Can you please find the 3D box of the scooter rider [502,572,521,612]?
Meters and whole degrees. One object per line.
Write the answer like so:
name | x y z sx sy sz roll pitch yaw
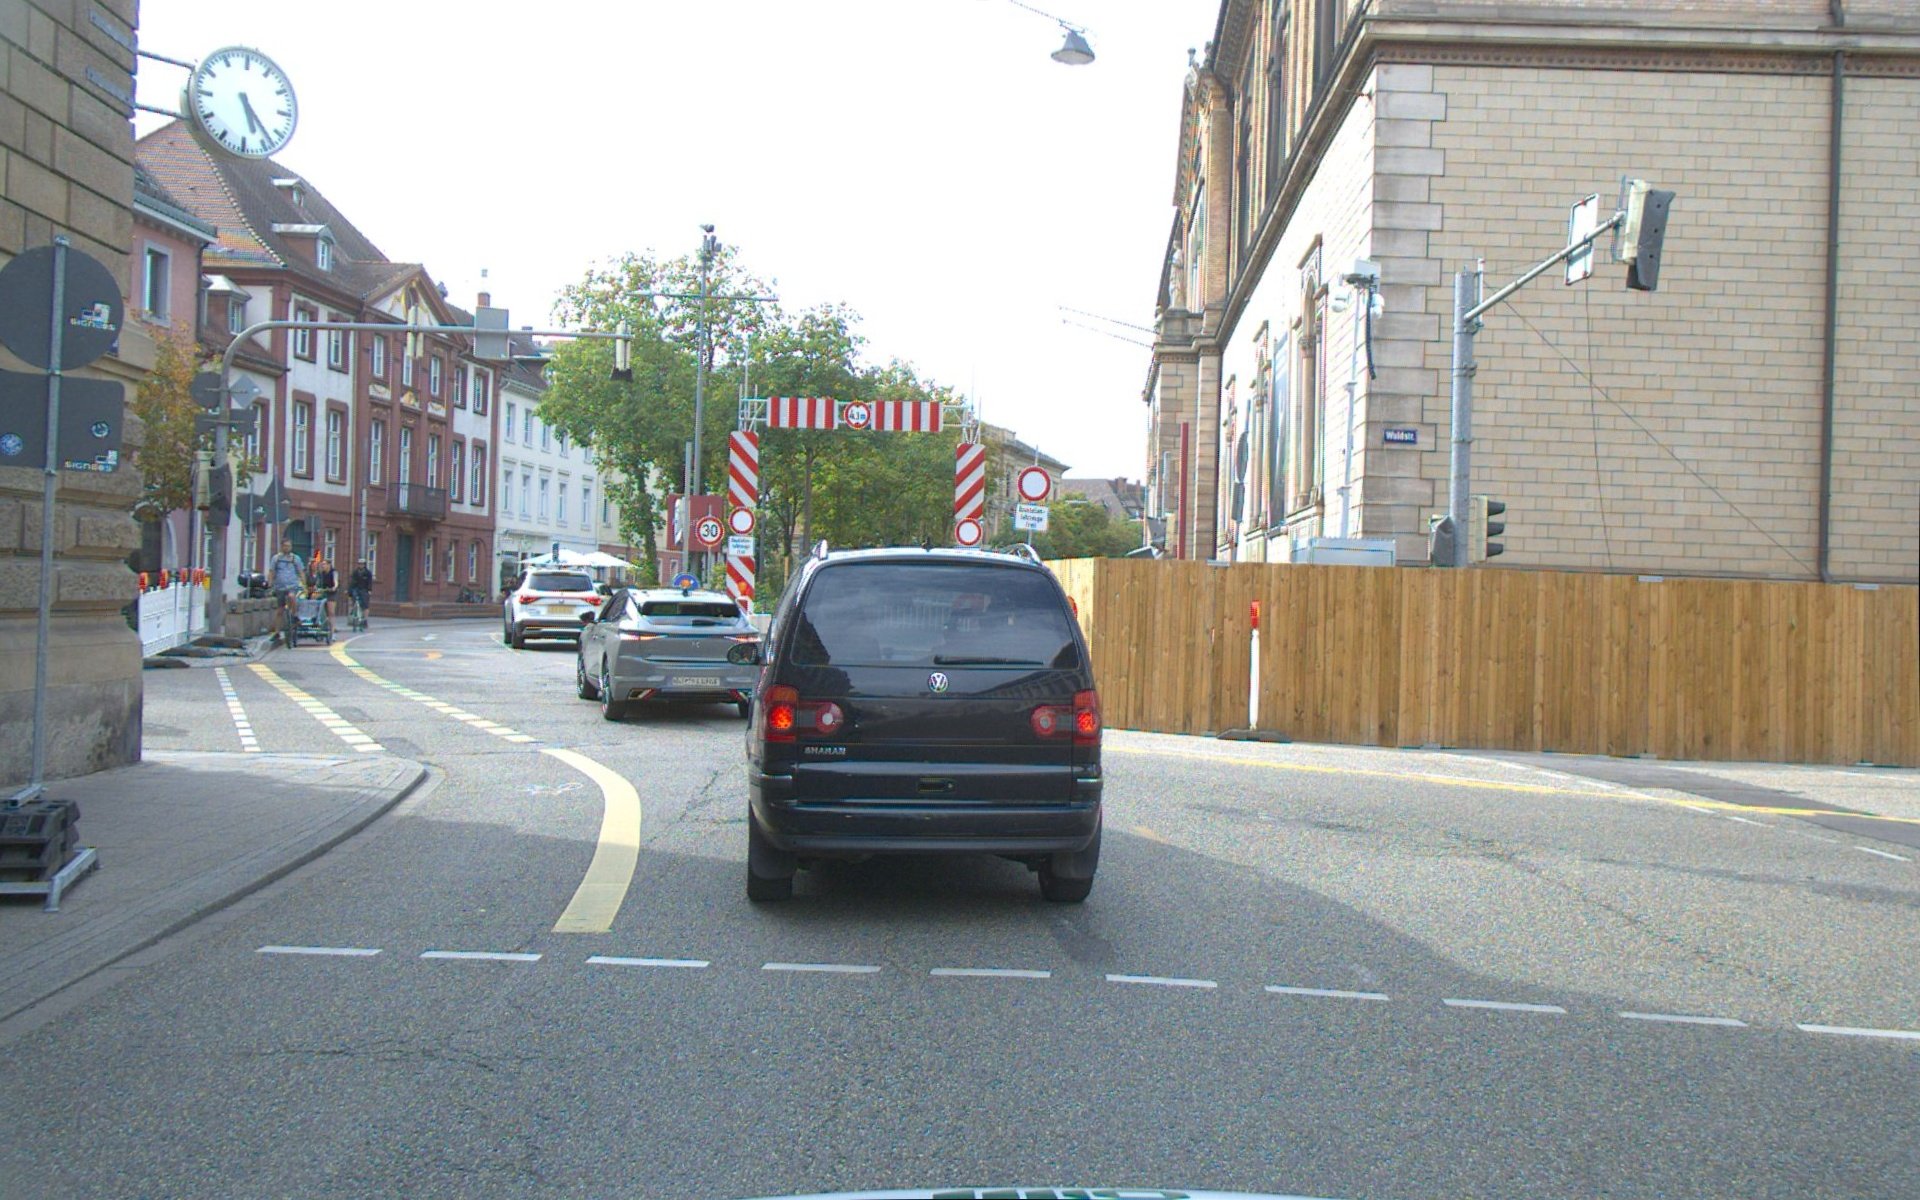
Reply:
scooter rider | -16.824 -0.298 62.101 0.588 1.516 0.678 1 -1 -10

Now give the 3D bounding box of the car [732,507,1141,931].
car | -0.251 0.532 9.327 1.754 1.821 4.099 2 0 -5

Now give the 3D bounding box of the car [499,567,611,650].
car | -8.516 0.165 34.547 1.748 1.613 3.974 1 0 -21

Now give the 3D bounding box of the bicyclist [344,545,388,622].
bicyclist | -15.704 -0.435 43.739 0.909 1.997 1.102 1 0 -12

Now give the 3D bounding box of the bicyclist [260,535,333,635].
bicyclist | -12.689 -0.279 31.664 1.073 1.856 1.360 1 0 -14

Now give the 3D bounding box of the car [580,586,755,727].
car | -3.608 0.612 19.896 1.651 1.494 4.086 2 0 -16

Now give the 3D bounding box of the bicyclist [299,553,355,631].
bicyclist | -13.623 -0.170 35.626 0.909 1.637 1.060 1 0 -12

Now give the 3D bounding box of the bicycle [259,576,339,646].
bicycle | -12.753 0.206 32.013 1.038 1.277 3.029 1 0 -15

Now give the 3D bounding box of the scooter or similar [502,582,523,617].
scooter or similar | -16.826 -0.022 62.162 0.588 1.277 1.548 1 0 -10

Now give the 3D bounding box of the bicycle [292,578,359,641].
bicycle | -13.644 0.200 35.619 0.909 1.277 2.534 1 0 -12

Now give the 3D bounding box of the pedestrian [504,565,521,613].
pedestrian | -19.338 -0.477 71.500 0.574 2.049 0.685 1 -1 -8

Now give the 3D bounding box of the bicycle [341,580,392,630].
bicycle | -15.787 0.141 44.053 0.909 1.277 2.534 1 0 -12
